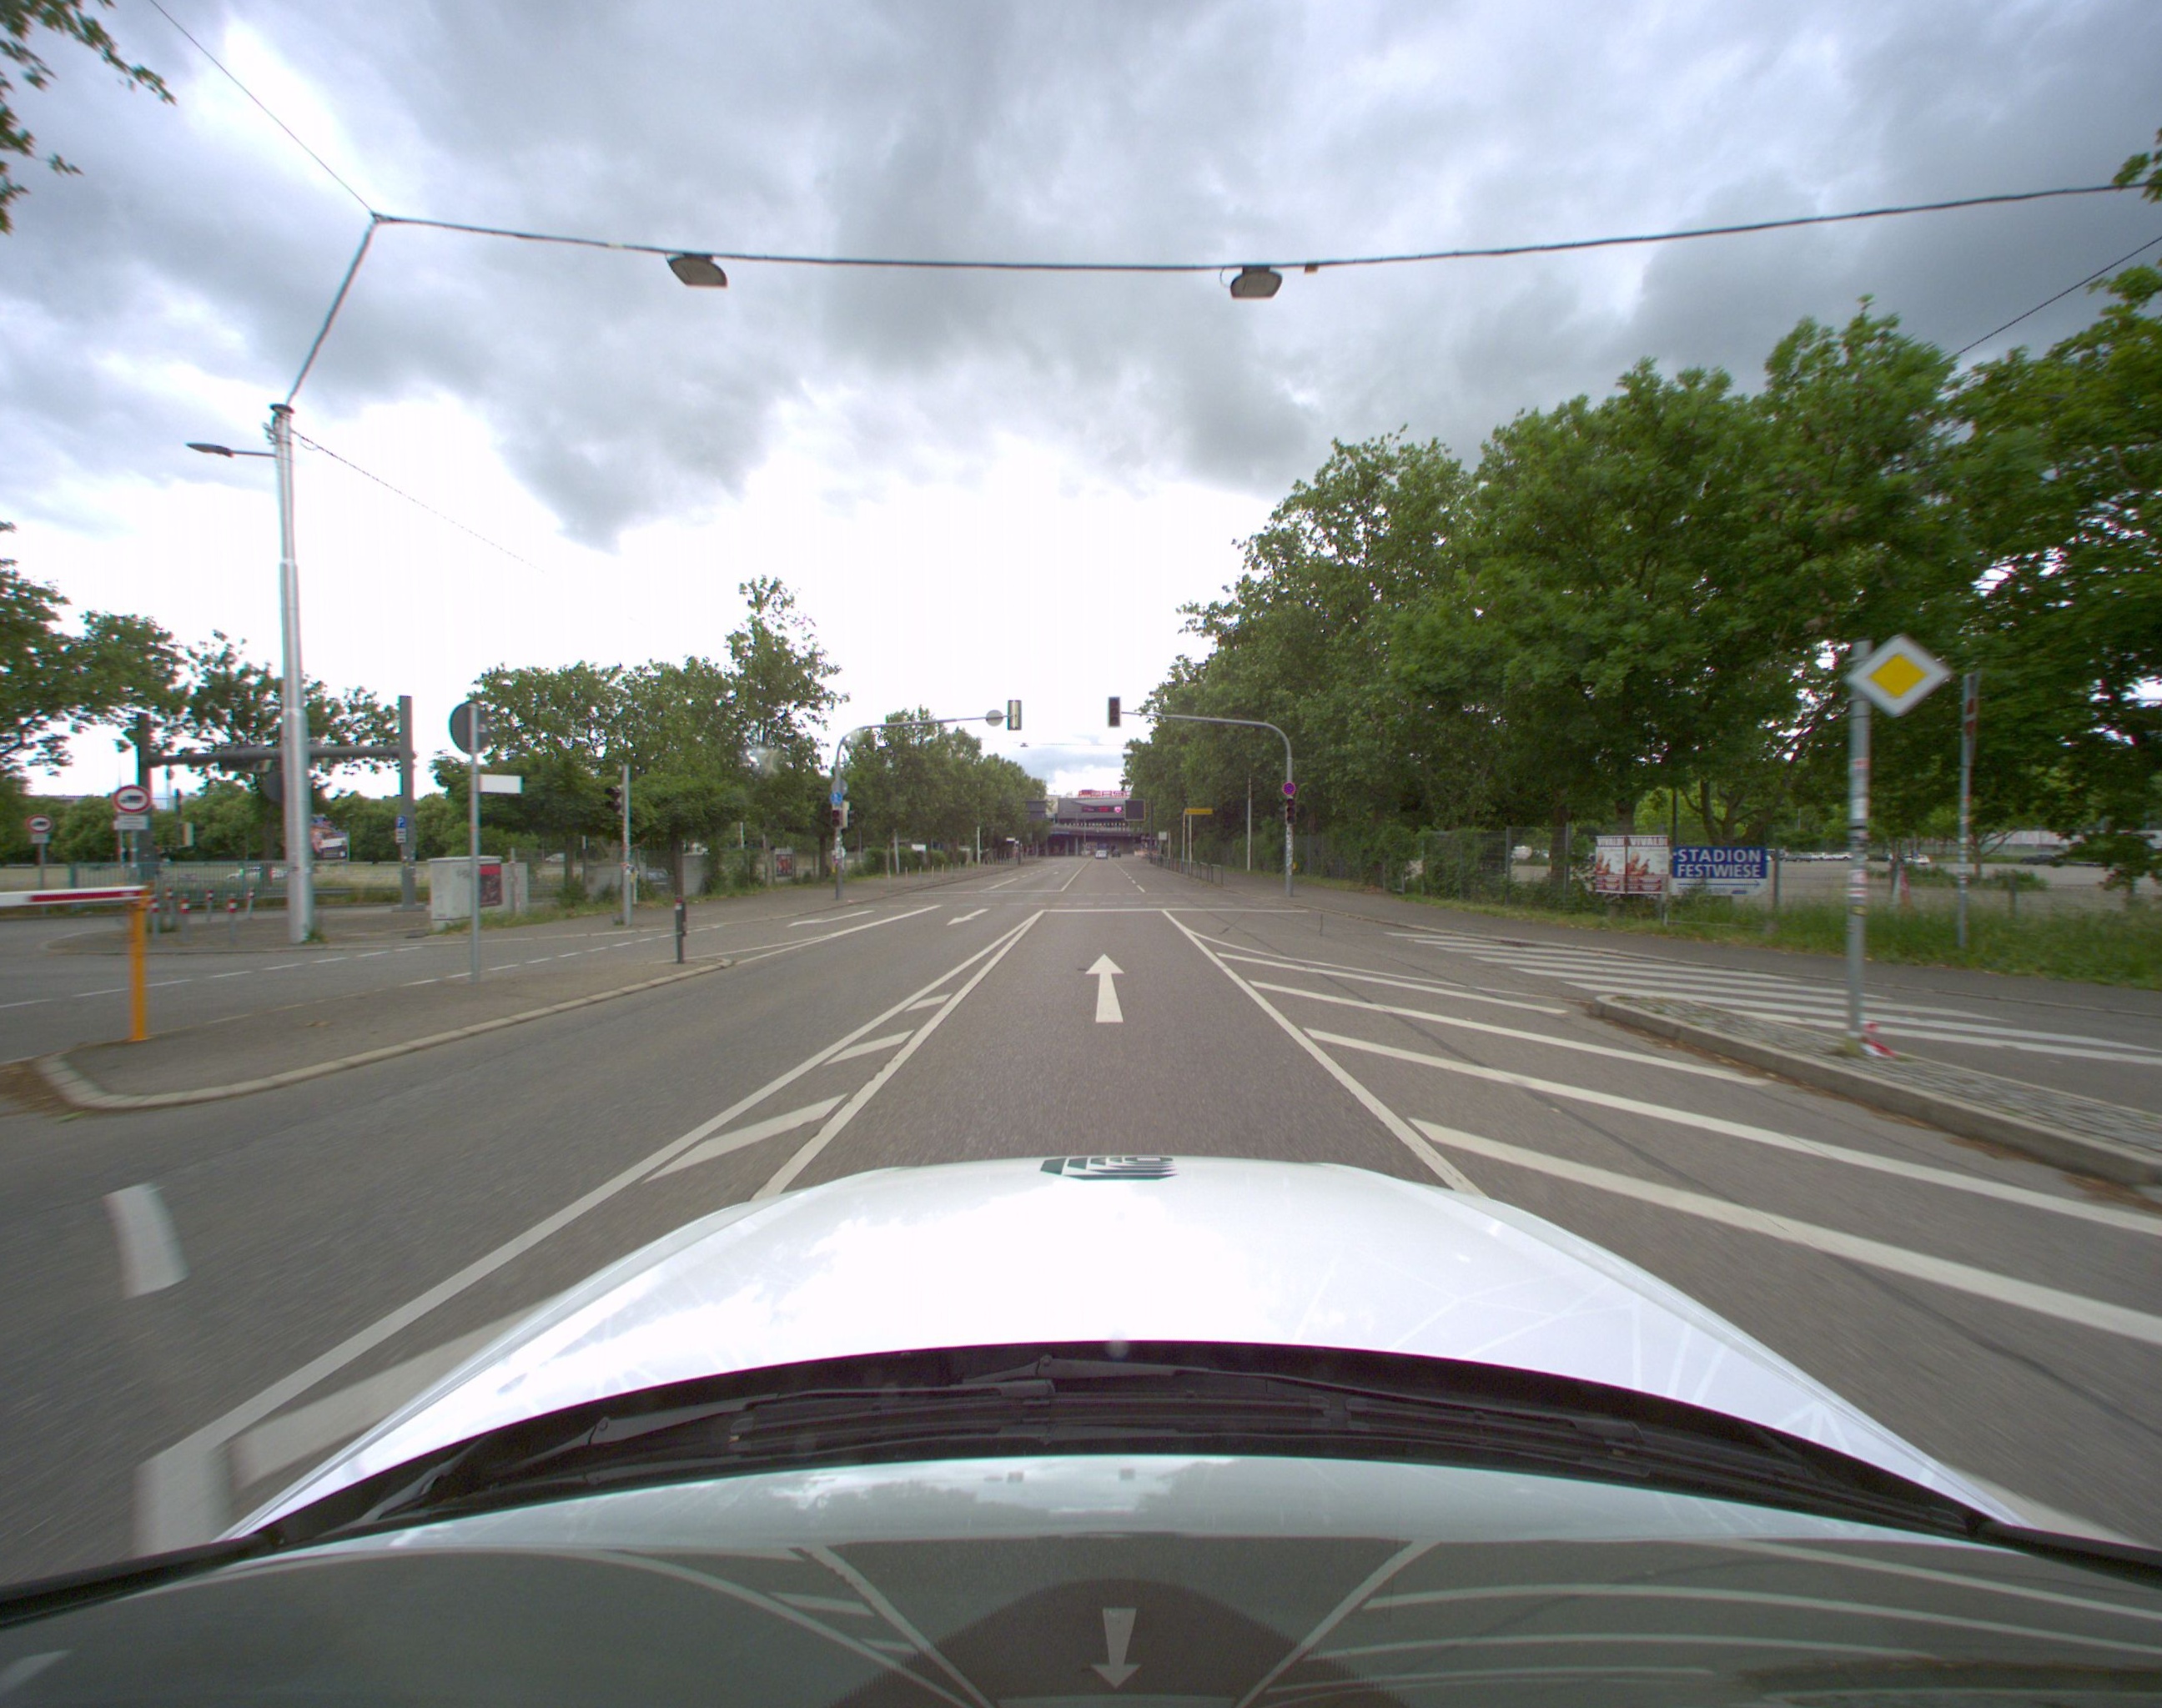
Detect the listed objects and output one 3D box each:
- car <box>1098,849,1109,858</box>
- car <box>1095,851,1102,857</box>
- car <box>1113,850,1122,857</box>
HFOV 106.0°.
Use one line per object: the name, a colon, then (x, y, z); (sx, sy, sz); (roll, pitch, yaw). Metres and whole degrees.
car: (4.051, -0.129, 145.741); (1.771, 1.460, 3.824); (1, 0, 2)
car: (3.348, 0.043, 155.038); (1.406, 1.113, 3.039); (0, 0, 2)
car: (8.039, -0.122, 181.006); (1.999, 1.698, 4.072); (0, 0, 2)
